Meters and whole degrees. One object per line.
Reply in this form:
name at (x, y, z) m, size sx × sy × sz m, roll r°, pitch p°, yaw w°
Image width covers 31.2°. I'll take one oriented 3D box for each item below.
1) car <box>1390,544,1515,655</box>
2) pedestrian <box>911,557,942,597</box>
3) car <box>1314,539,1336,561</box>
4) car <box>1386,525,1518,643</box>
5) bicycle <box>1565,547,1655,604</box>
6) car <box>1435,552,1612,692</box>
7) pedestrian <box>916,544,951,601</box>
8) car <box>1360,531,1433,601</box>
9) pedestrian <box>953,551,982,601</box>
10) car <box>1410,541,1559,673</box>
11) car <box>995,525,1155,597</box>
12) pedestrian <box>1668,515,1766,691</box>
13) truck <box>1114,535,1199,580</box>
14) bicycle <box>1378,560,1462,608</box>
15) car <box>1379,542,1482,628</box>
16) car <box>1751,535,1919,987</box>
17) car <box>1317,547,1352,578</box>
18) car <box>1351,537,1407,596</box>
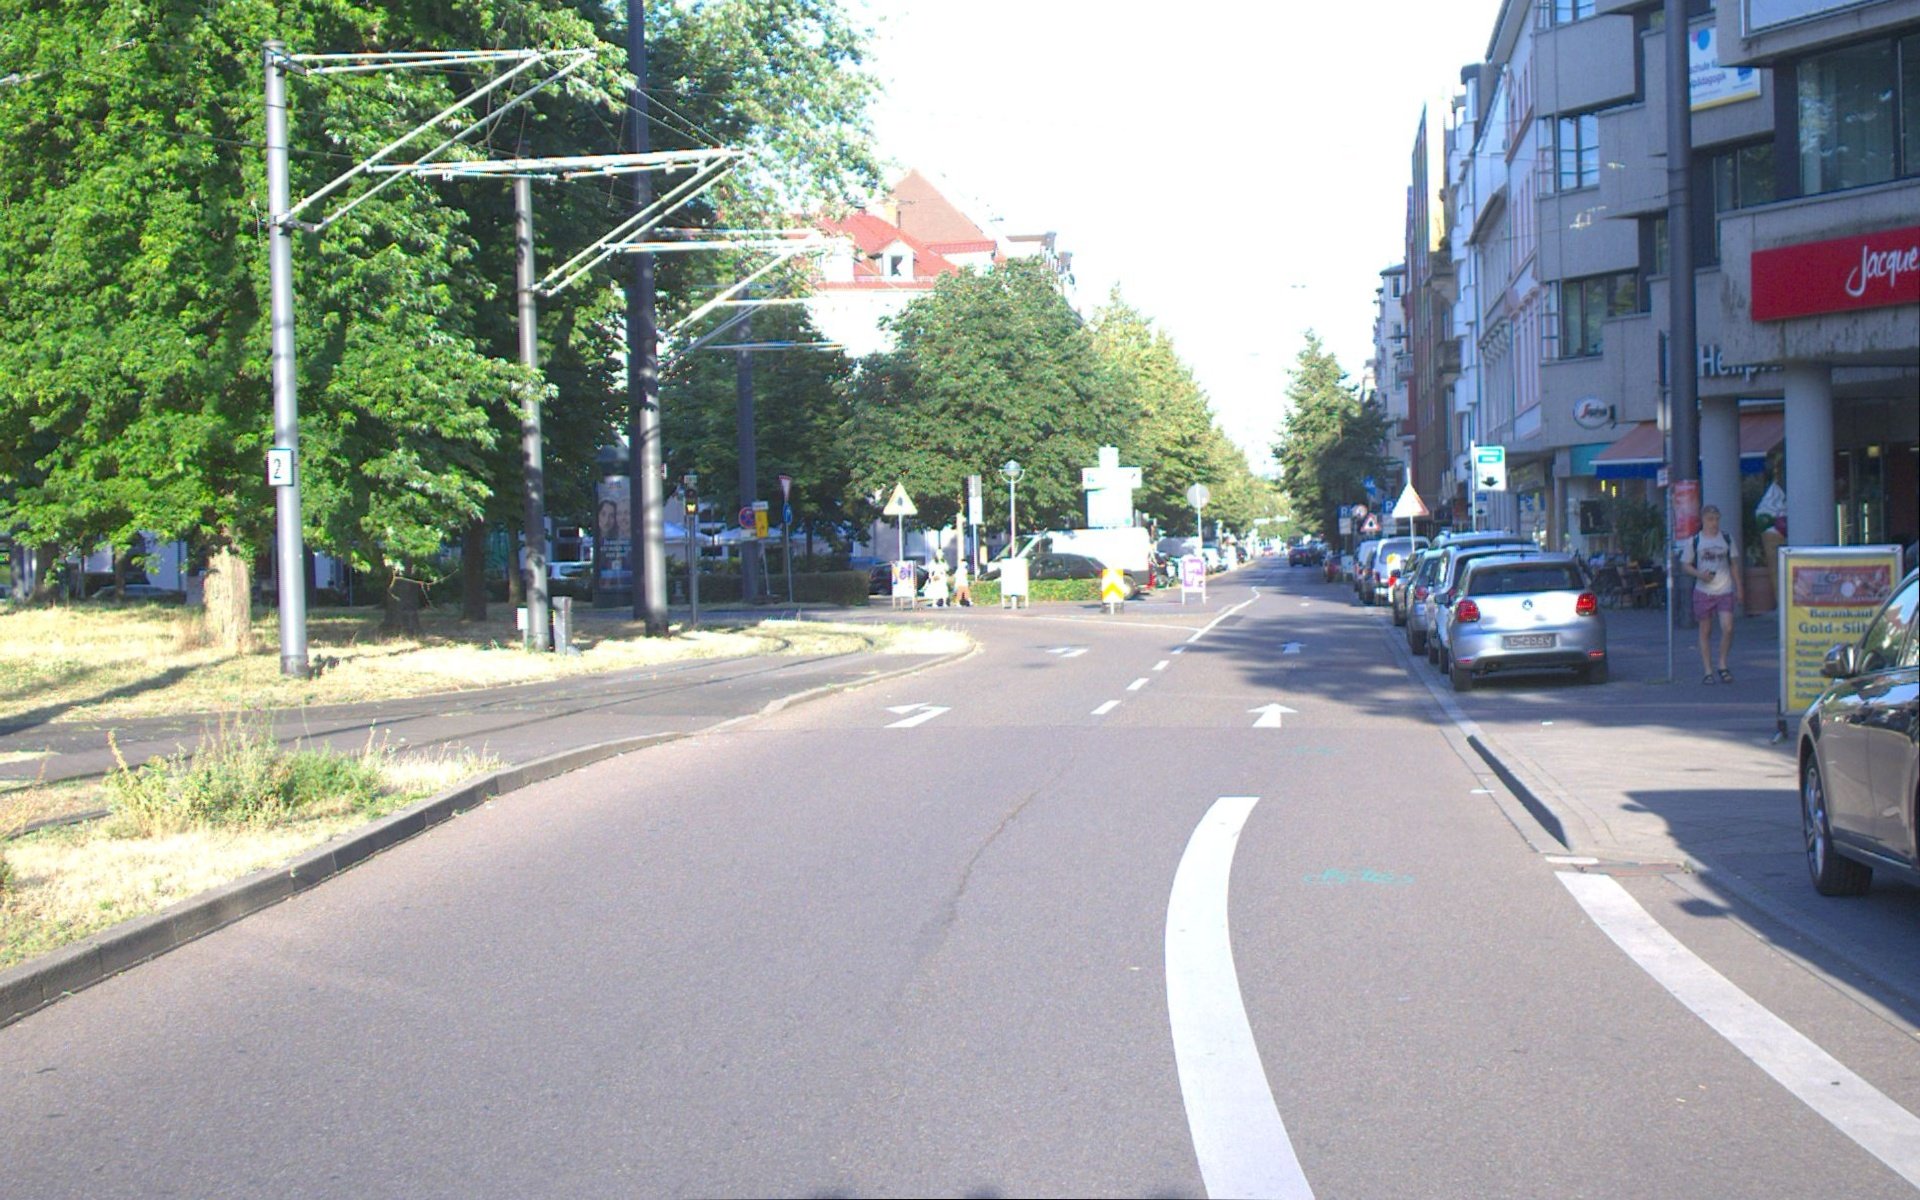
car at (7.066, -0.033, 49.592) m, size 1.641 × 1.523 × 3.999 m, roll 0°, pitch 1°, yaw 6°
pedestrian at (-1.084, -0.750, 110.724) m, size 0.746 × 1.273 × 0.661 m, roll -1°, pitch 1°, yaw -31°
car at (22.713, -3.102, 214.165) m, size 1.206 × 1.296 × 2.660 m, roll 0°, pitch 0°, yaw 3°
car at (7.818, -0.283, 54.942) m, size 1.784 × 1.798 × 4.401 m, roll 0°, pitch 1°, yaw 4°
bicycle at (12.728, -0.482, 67.301) m, size 1.886 × 1.001 × 0.458 m, roll -4°, pitch 0°, yaw -33°
car at (6.239, 0.214, 38.403) m, size 1.785 × 1.451 × 3.999 m, roll -1°, pitch 0°, yaw 7°
pedestrian at (-0.737, -0.764, 94.338) m, size 0.697 × 1.553 × 0.695 m, roll -1°, pitch 1°, yaw -31°
car at (11.568, -0.906, 91.324) m, size 1.793 × 1.785 × 4.091 m, roll -1°, pitch 0°, yaw 6°
pedestrian at (0.196, -0.670, 94.529) m, size 0.562 × 1.359 × 0.614 m, roll -1°, pitch 1°, yaw -31°
car at (6.589, 0.050, 43.481) m, size 1.585 × 1.585 × 3.667 m, roll 0°, pitch 1°, yaw 4°
car at (3.670, -1.248, 109.648) m, size 4.597 × 2.243 × 2.204 m, roll 0°, pitch 0°, yaw -21°
pedestrian at (7.756, 0.023, 35.261) m, size 0.638 × 1.780 × 0.857 m, roll 0°, pitch 1°, yaw -18°
truck at (11.769, -2.539, 205.654) m, size 4.942 × 2.606 × 2.000 m, roll -1°, pitch 0°, yaw 5°
bicycle at (10.618, -0.359, 79.427) m, size 1.790 × 0.986 × 0.541 m, roll -3°, pitch 2°, yaw 29°
car at (8.600, -0.295, 63.037) m, size 1.790 × 1.502 × 3.920 m, roll 0°, pitch 1°, yaw 7°
car at (4.208, 0.515, 13.291) m, size 1.651 × 1.529 × 4.066 m, roll 0°, pitch 1°, yaw 4°
car at (19.839, -1.959, 182.120) m, size 1.576 × 1.537 × 3.396 m, roll -3°, pitch 0°, yaw 3°
car at (13.266, -1.083, 108.981) m, size 1.710 × 1.829 × 4.305 m, roll 0°, pitch 1°, yaw 7°
